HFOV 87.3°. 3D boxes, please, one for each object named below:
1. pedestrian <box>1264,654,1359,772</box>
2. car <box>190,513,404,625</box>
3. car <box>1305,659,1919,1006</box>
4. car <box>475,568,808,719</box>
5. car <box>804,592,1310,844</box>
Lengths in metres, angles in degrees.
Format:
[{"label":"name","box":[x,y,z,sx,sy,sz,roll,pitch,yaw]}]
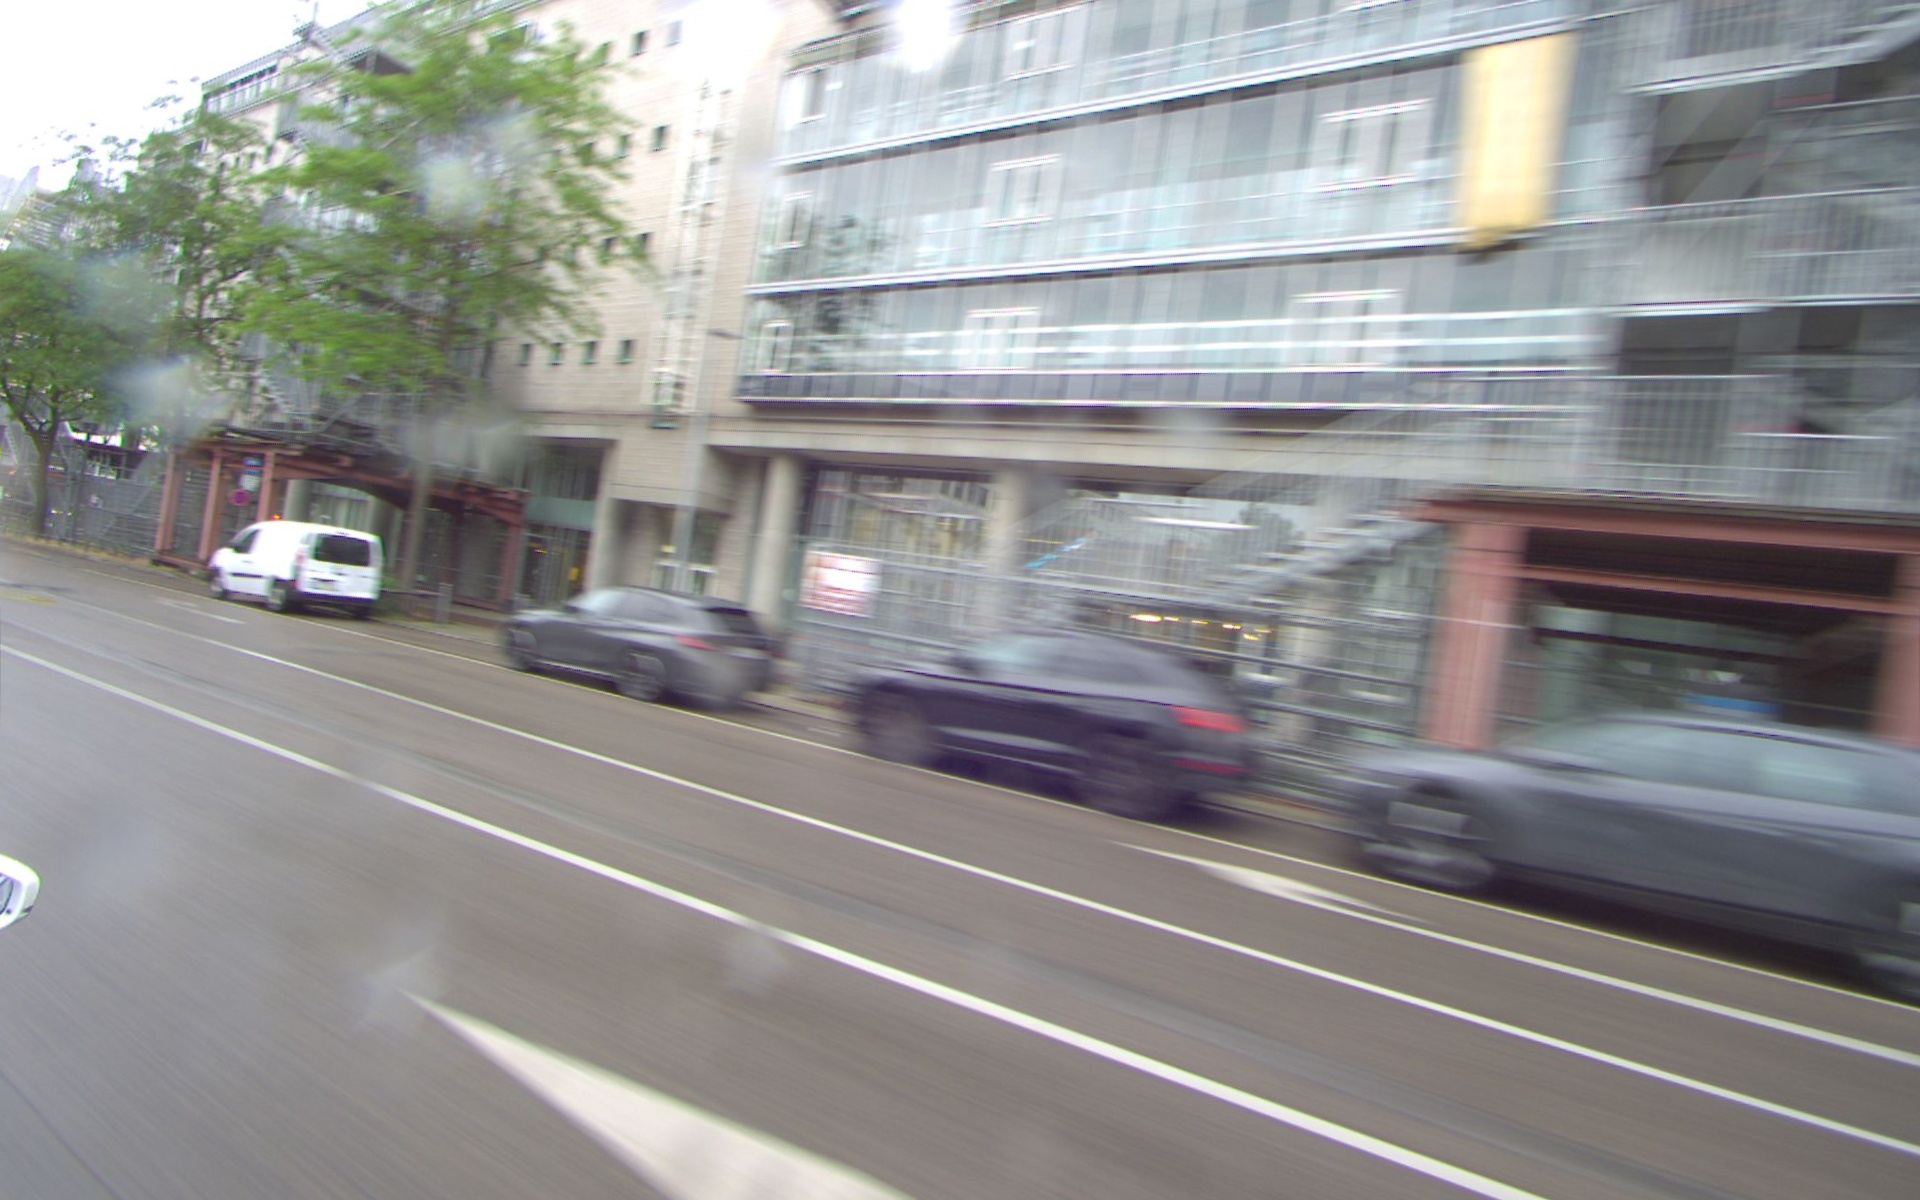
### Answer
[{"label":"pedestrian","box":[5.451,1.731,15.570,1.094,1.615,0.820,7,-1,29]},{"label":"car","box":[-13.939,-0.670,21.086,4.453,1.770,1.996,7,-1,33]},{"label":"car","box":[5.228,1.587,7.587,4.518,1.619,1.864,7,-1,33]},{"label":"car","box":[-4.635,0.574,14.309,4.844,1.454,1.871,7,-1,35]},{"label":"car","box":[0.879,1.062,10.551,4.786,1.665,1.995,7,-1,35]}]
